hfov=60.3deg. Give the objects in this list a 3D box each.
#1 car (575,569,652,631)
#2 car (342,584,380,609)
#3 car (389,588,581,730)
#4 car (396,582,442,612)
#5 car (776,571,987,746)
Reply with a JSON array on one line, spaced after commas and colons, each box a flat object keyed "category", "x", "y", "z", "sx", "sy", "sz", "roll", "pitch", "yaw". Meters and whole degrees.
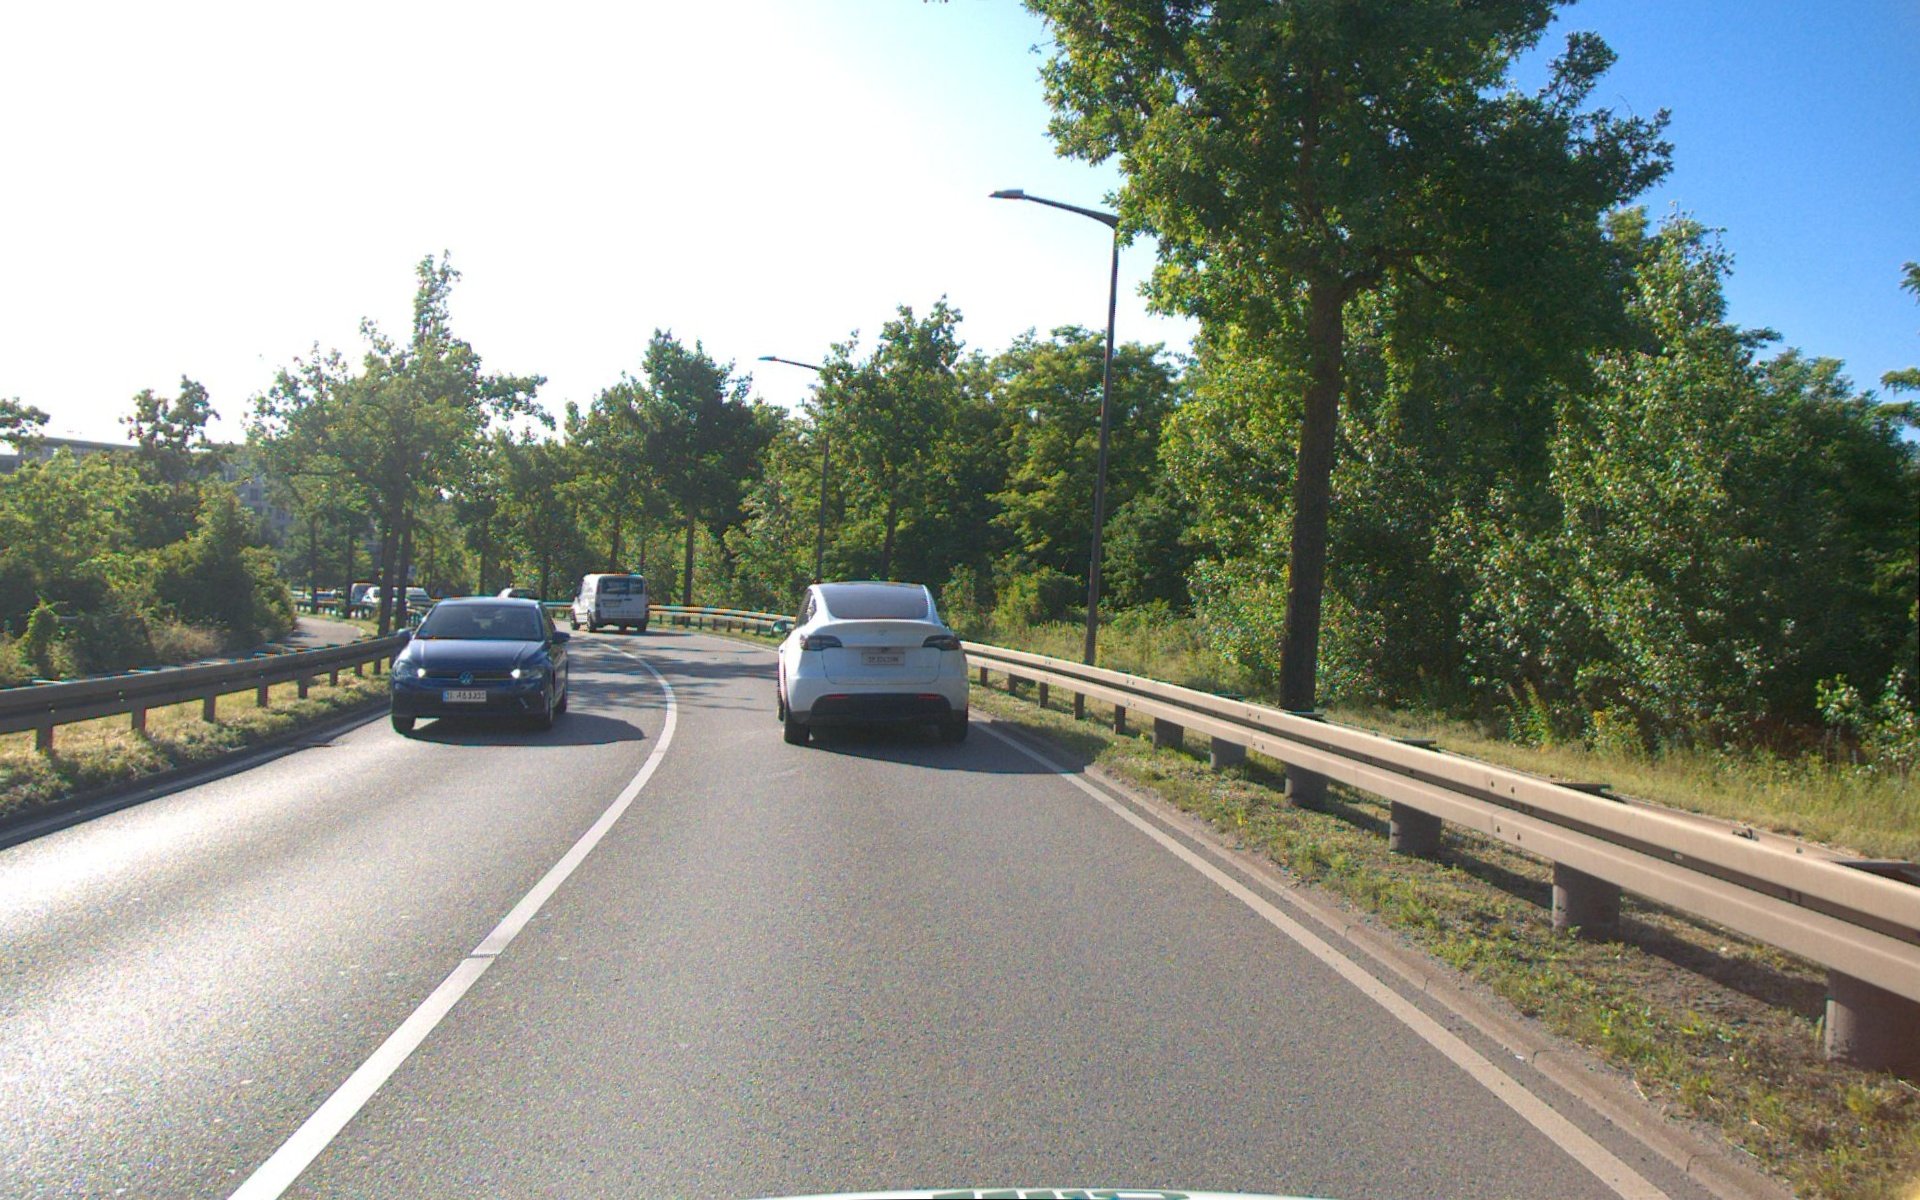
[{"category": "car", "x": -11.634, "y": -0.020, "z": 55.394, "sx": 1.975, "sy": 1.974, "sz": 4.443, "roll": 1, "pitch": 1, "yaw": -19}, {"category": "car", "x": -39.925, "y": -0.262, "z": 110.147, "sx": 1.815, "sy": 1.583, "sz": 3.857, "roll": 0, "pitch": 1, "yaw": -29}, {"category": "car", "x": -5.419, "y": 0.612, "z": 19.290, "sx": 1.760, "sy": 1.456, "sz": 3.817, "roll": 1, "pitch": 1, "yaw": -10}, {"category": "car", "x": -29.599, "y": -0.179, "z": 90.451, "sx": 1.838, "sy": 1.612, "sz": 3.880, "roll": 0, "pitch": 1, "yaw": -27}, {"category": "car", "x": -0.968, "y": 0.557, "z": 17.945, "sx": 1.948, "sy": 1.666, "sz": 4.056, "roll": 1, "pitch": 0, "yaw": -7}]
